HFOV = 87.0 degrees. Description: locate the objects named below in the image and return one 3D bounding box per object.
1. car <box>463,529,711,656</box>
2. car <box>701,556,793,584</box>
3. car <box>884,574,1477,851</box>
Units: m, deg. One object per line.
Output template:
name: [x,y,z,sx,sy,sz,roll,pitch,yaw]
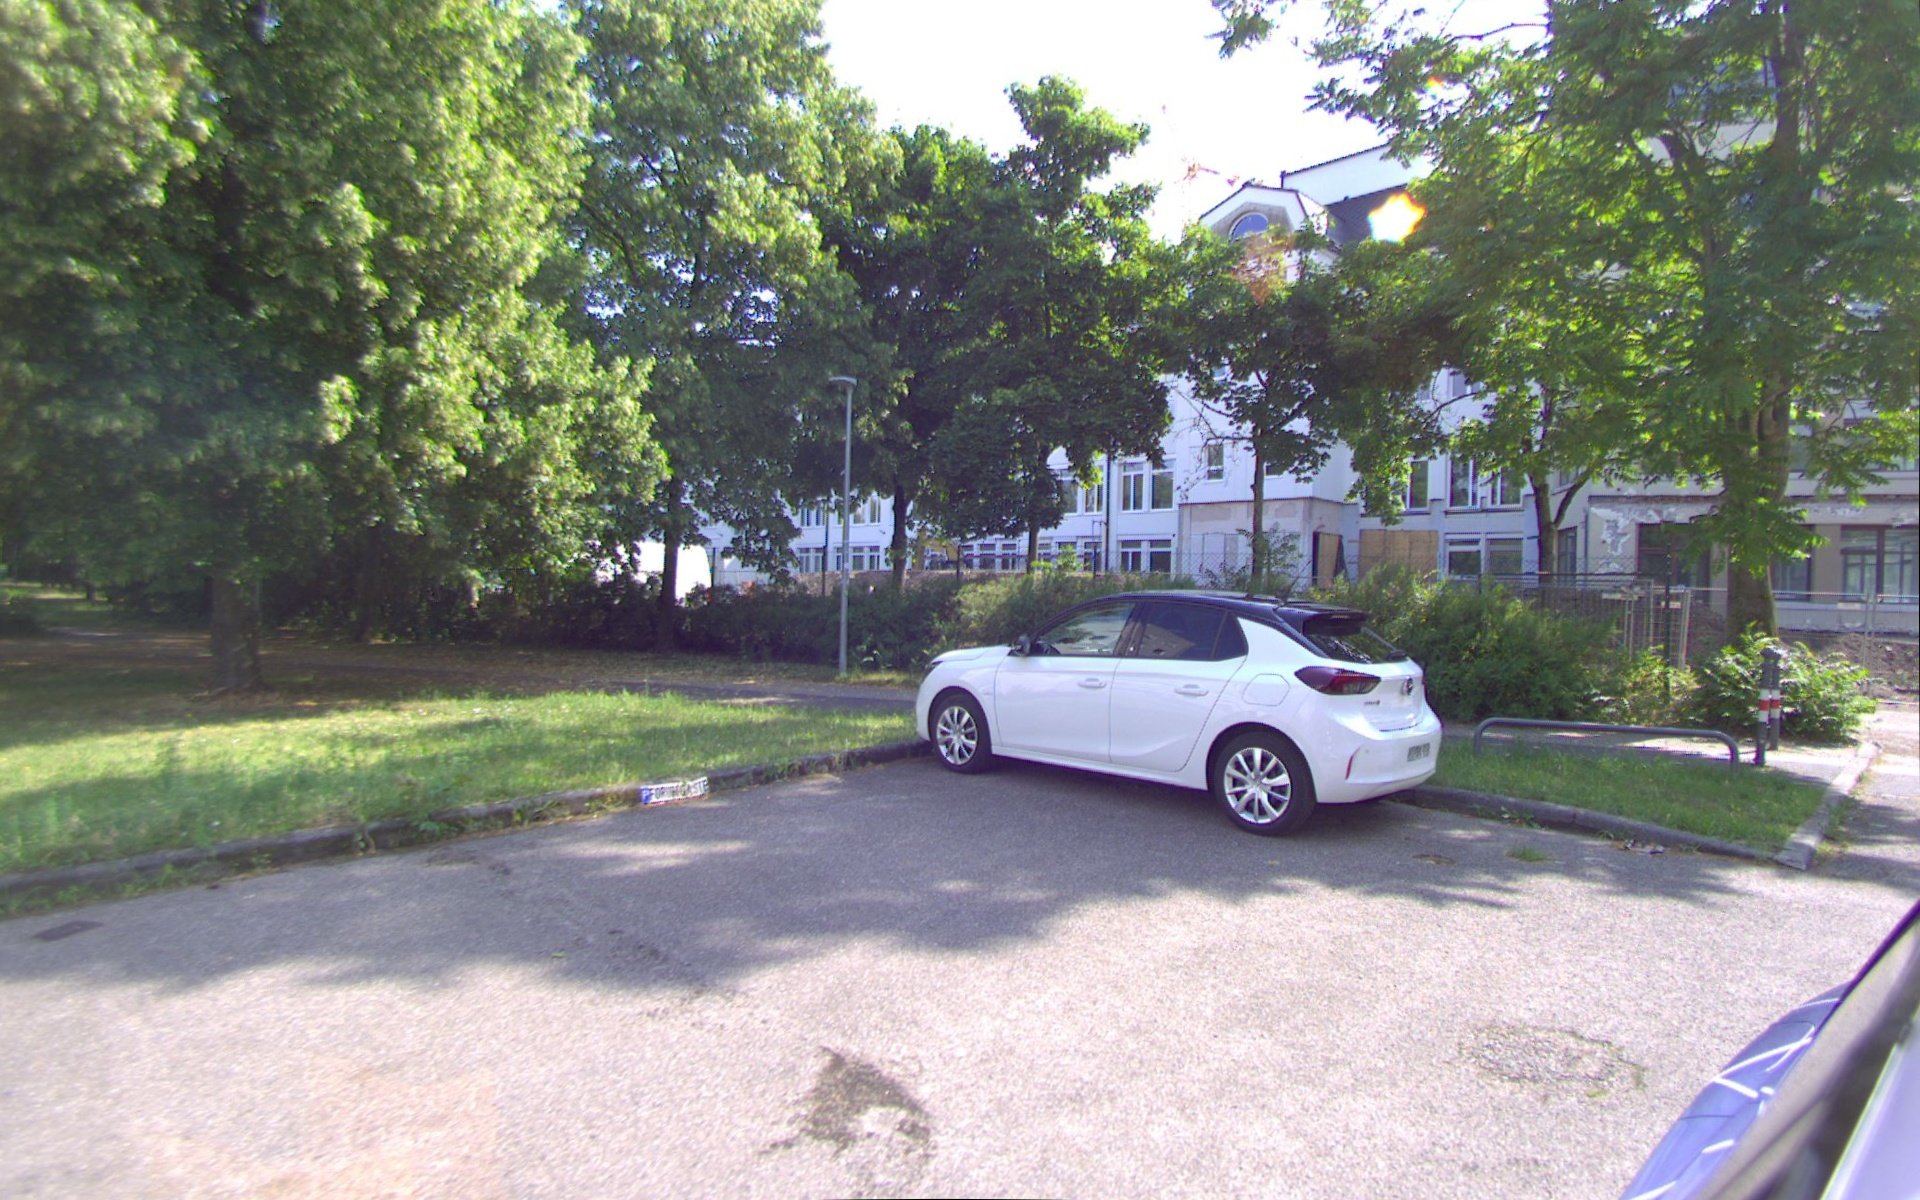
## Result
car: [-10.054,-0.187,28.164,1.982,3.086,6.905,0,0,28]
car: [-11.818,-1.652,56.460,4.789,1.446,1.840,-1,0,-44]
car: [1.423,0.558,7.394,3.900,1.437,1.733,2,3,41]
